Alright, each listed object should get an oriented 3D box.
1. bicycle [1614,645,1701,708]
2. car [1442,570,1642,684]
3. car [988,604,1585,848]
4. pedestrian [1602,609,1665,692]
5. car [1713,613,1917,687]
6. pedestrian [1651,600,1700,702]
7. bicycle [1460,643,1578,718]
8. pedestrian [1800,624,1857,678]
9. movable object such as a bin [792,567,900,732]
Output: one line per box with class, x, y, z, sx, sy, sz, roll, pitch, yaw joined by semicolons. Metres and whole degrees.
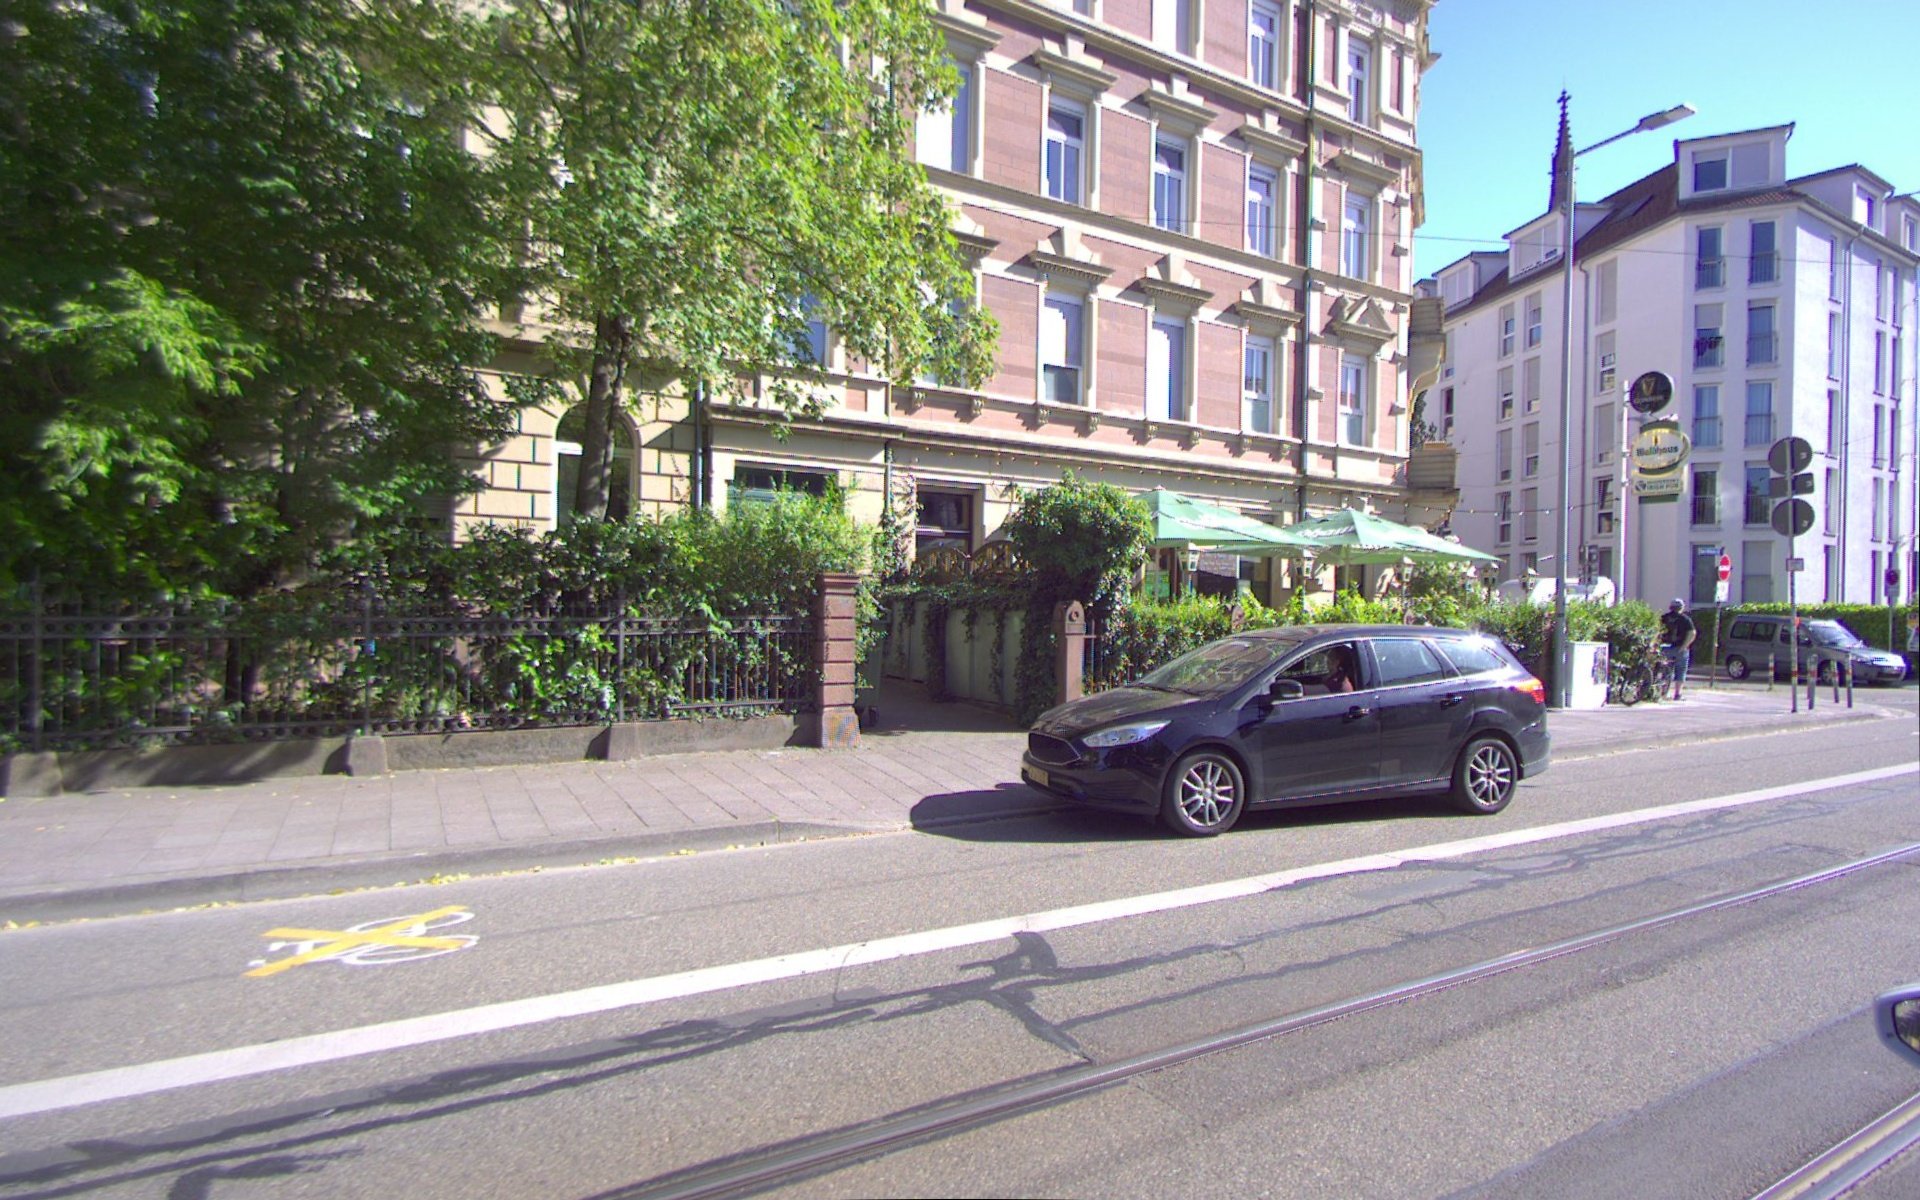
bicycle;11.834;1.269;17.020;1.757;0.994;0.524;1;0;-31
car;15.932;0.763;27.546;4.702;2.878;1.888;2;-1;-14
car;2.660;0.889;8.275;4.519;1.597;1.862;1;-2;-21
pedestrian;14.097;1.044;21.031;0.816;1.676;0.707;2;-1;2
car;23.076;1.304;27.321;1.759;1.831;4.048;2;-1;-9
pedestrian;12.922;0.912;18.140;0.533;1.805;0.553;1;0;-33
bicycle;8.481;1.190;15.209;2.197;1.052;0.511;1;0;-30
pedestrian;25.300;1.472;29.259;0.743;1.498;0.955;1;1;-11
movable object such as a bin;-1.326;0.526;11.459;1.024;1.754;1.285;1;2;-14
